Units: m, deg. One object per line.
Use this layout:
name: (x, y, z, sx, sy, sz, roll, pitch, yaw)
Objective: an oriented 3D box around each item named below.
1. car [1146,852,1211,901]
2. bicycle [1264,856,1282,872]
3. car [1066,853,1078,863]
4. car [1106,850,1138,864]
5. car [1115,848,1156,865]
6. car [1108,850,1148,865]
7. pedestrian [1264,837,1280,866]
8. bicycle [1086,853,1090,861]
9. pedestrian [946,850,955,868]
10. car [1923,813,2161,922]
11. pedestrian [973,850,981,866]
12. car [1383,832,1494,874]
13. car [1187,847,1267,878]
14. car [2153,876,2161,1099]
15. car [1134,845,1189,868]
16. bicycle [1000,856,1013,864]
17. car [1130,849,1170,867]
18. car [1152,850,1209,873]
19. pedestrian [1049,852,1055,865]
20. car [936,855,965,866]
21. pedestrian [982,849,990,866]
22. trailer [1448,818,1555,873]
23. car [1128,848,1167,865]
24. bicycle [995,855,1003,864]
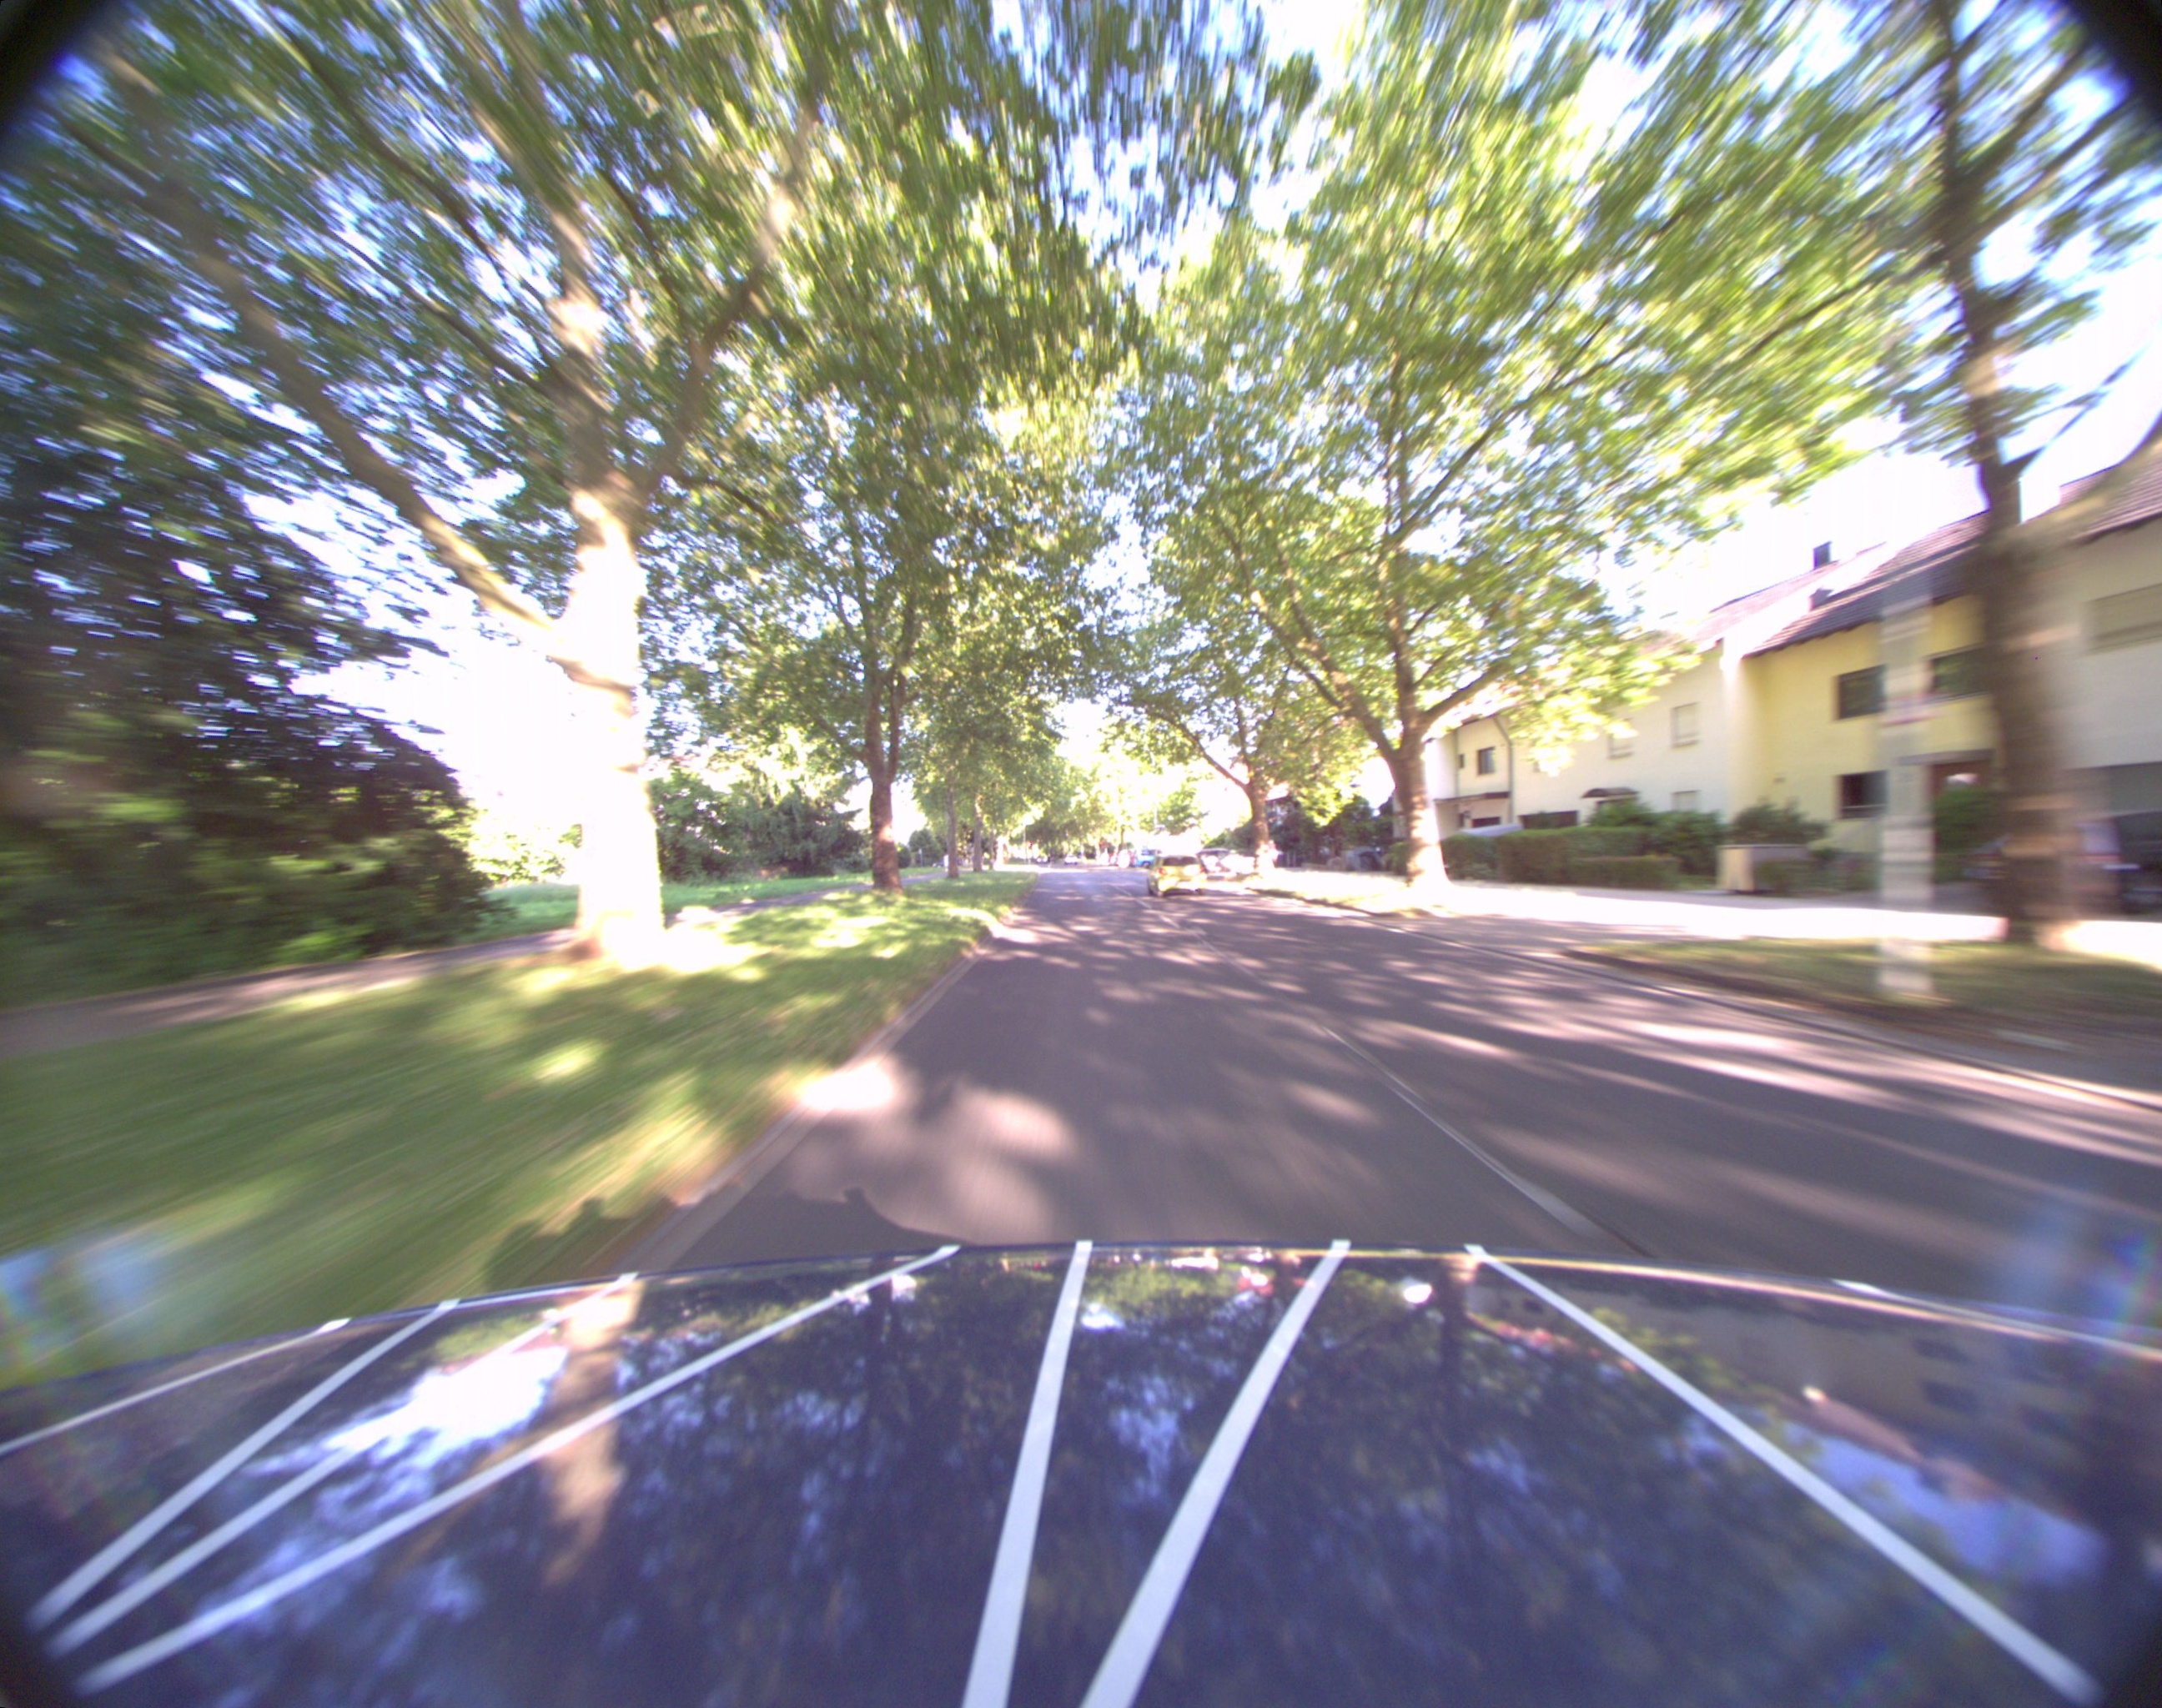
car: (3.336, 0.723, 26.614, 1.788, 1.504, 3.838, -2, 1, 1)
bicycle: (11.327, 0.557, 44.783, 0.471, 0.875, 2.155, -2, 1, -1)
car: (-1.282, 0.576, 113.031, 1.721, 1.492, 4.093, -2, 0, 0)
car: (5.183, 0.379, 96.047, 3.776, 1.526, 1.830, -2, 1, -7)
car: (5.804, 0.251, 80.969, 4.103, 1.706, 1.831, -2, 1, -4)
car: (5.301, 0.399, 86.029, 4.174, 1.492, 1.874, -2, 1, -6)
pedestrian: (11.245, -0.150, 44.840, 0.618, 1.706, 1.065, -2, 1, -1)
bicycle: (1.078, 0.467, 122.877, 0.510, 1.036, 2.151, 3, 4, -2)
pedestrian: (-12.167, 0.467, 70.844, 0.782, 1.640, 0.938, -1, 1, -4)
car: (16.005, 0.142, 11.651, 3.997, 1.455, 1.901, -3, -1, 0)
pedestrian: (-11.879, 0.423, 86.518, 0.756, 1.837, 0.802, -1, 1, -1)
car: (16.268, -0.037, 34.735, 3.997, 1.468, 2.000, -6, 1, -1)
car: (8.054, 0.437, 42.155, 3.999, 1.509, 1.817, -2, 0, -2)
car: (8.243, 0.701, 3.605, 3.835, 1.308, 1.789, -3, 1, -1)
car: (7.006, 0.171, 66.263, 4.399, 1.814, 1.994, -2, 1, -6)
bicycle: (-9.868, 0.783, 100.533, 1.715, 1.028, 0.447, -1, -2, 31)
car: (6.673, 0.380, 73.723, 3.652, 1.508, 1.781, -2, 0, -4)
car: (7.313, 0.525, 56.163, 3.883, 1.509, 1.664, -2, 1, -6)
pedestrian: (-3.862, 0.571, 100.206, 0.637, 1.709, 0.825, 1, 0, -12)
car: (-18.976, 0.897, 110.692, 4.068, 1.455, 1.730, -1, 1, -9)
pedestrian: (-10.783, 0.392, 86.592, 0.763, 1.835, 0.787, -1, 1, -1)
trailer: (17.721, -0.327, 32.116, 3.462, 1.914, 1.643, -6, -1, -2)
car: (6.613, 0.289, 76.111, 3.523, 1.508, 1.725, -3, 0, -8)
bicycle: (-10.664, 0.722, 99.214, 0.447, 1.076, 2.004, 0, -2, -25)
